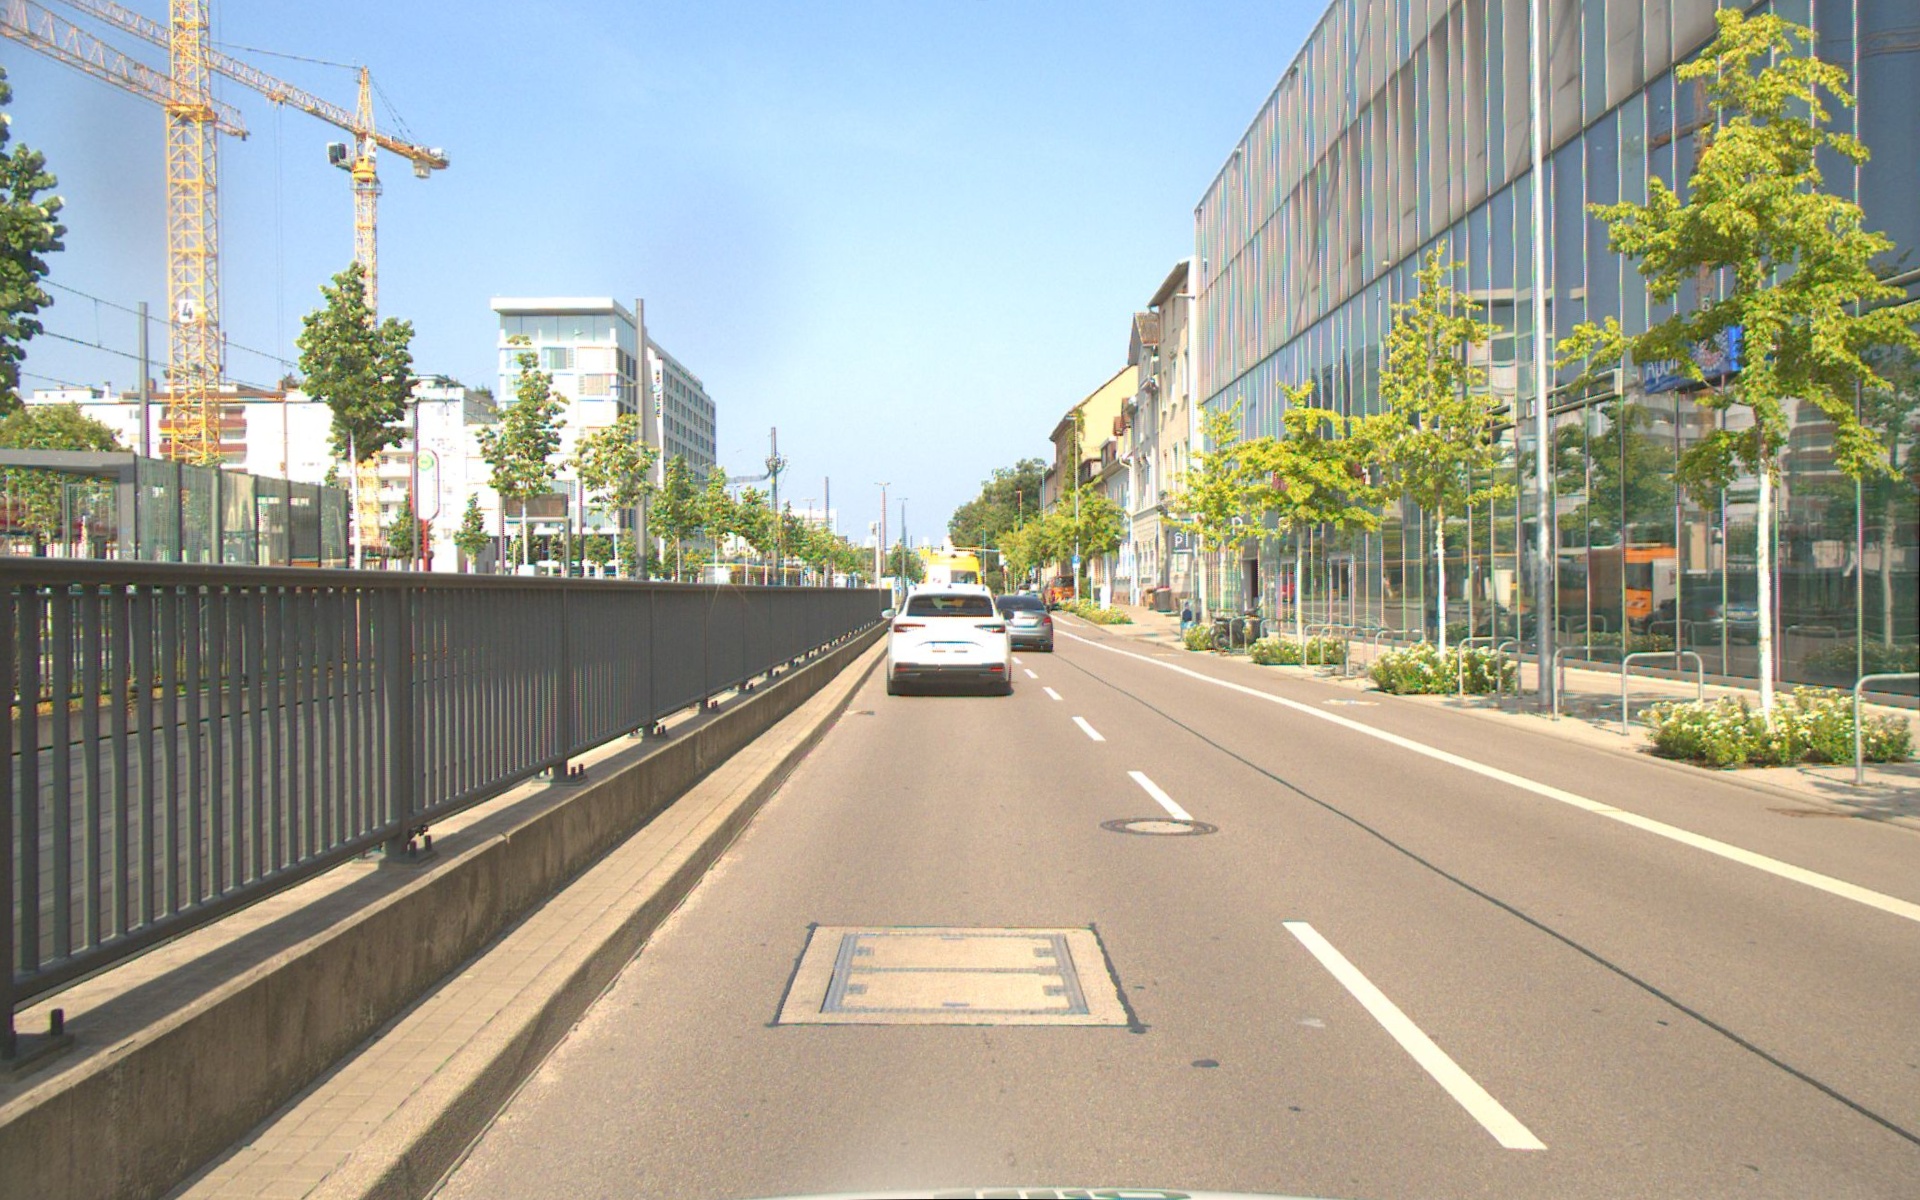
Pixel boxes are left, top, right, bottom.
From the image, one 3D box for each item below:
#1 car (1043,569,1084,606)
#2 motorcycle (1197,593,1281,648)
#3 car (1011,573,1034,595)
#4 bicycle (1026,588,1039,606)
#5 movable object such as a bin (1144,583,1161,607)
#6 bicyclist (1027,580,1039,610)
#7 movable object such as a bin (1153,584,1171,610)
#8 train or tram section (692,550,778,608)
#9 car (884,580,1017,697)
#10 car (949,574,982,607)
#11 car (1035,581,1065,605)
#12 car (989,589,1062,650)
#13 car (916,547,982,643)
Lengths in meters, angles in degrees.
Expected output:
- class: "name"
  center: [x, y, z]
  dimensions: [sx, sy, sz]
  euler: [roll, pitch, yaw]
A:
- class: "car"
  center: [6.023, -0.765, 96.796]
  dimensions: [2.021, 2.048, 4.588]
  euler: [-1, 1, -1]
- class: "motorcycle"
  center: [7.160, 0.512, 42.496]
  dimensions: [1.934, 1.373, 0.865]
  euler: [-1, 0, -11]
- class: "car"
  center: [5.277, -1.384, 140.396]
  dimensions: [1.775, 1.844, 3.835]
  euler: [0, 1, -1]
- class: "bicycle"
  center: [3.863, -0.168, 88.028]
  dimensions: [0.642, 0.955, 1.517]
  euler: [0, 1, 2]
- class: "movable object such as a bin"
  center: [9.583, -0.254, 82.371]
  dimensions: [0.666, 1.172, 0.607]
  euler: [-2, 3, -44]
- class: "bicyclist"
  center: [3.869, -0.258, 88.018]
  dimensions: [0.626, 1.604, 0.771]
  euler: [0, 0, 2]
- class: "movable object such as a bin"
  center: [9.626, -0.143, 78.950]
  dimensions: [0.765, 1.192, 0.808]
  euler: [0, 2, -1]
- class: "train or tram section"
  center: [-15.788, -1.419, 117.727]
  dimensions: [2.845, 3.740, 18.143]
  euler: [1, 0, 3]
- class: "car"
  center: [-0.139, 0.506, 24.919]
  dimensions: [1.831, 1.602, 4.000]
  euler: [-1, 1, 0]
- class: "car"
  center: [0.345, -0.589, 104.266]
  dimensions: [1.953, 2.049, 3.999]
  euler: [1, 0, -1]
- class: "car"
  center: [5.948, -0.483, 109.910]
  dimensions: [1.639, 1.509, 4.311]
  euler: [-2, 0, -1]
- class: "car"
  center: [1.676, 0.478, 43.532]
  dimensions: [1.724, 1.461, 4.115]
  euler: [1, 1, 0]
- class: "car"
  center: [-0.340, -0.227, 53.472]
  dimensions: [1.979, 2.844, 5.402]
  euler: [-1, 3, 0]
